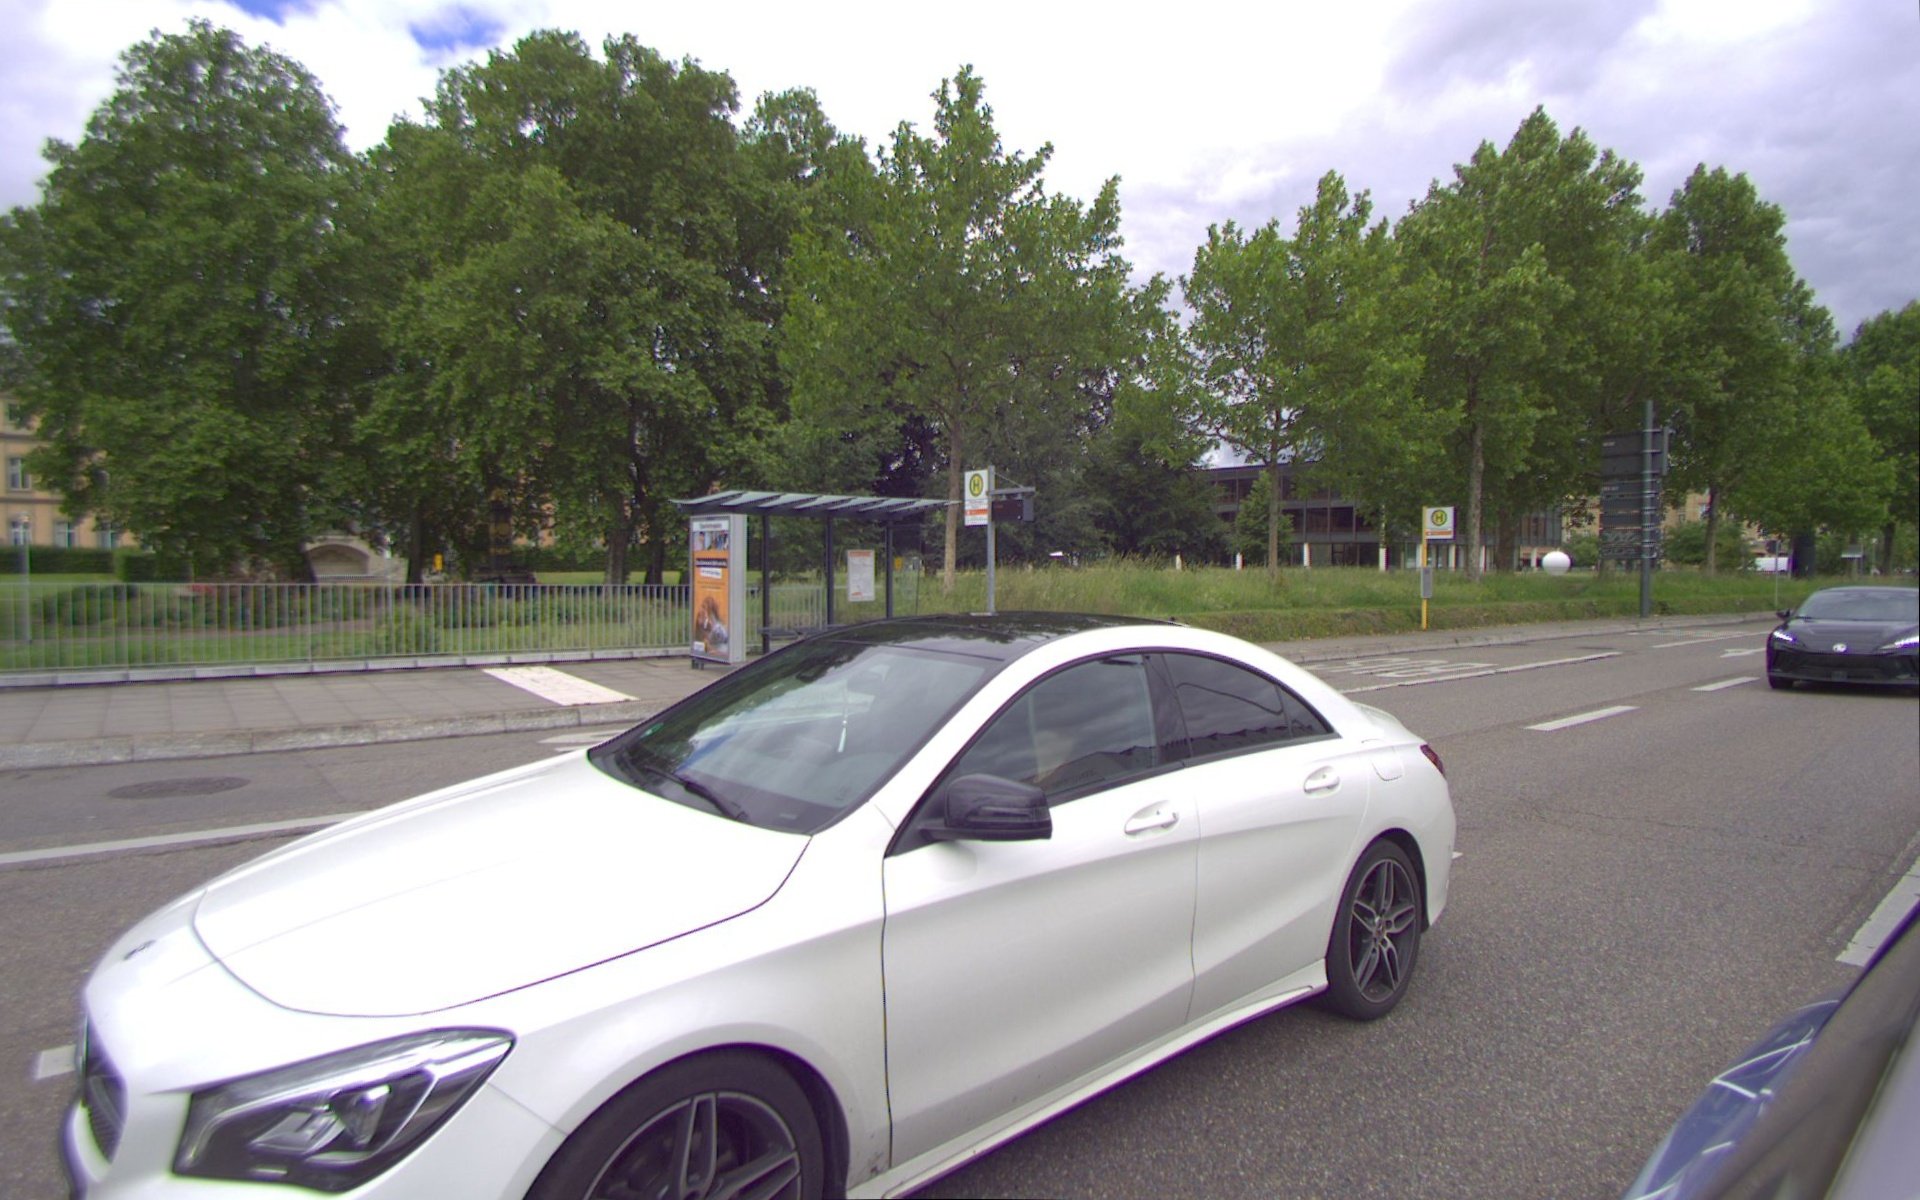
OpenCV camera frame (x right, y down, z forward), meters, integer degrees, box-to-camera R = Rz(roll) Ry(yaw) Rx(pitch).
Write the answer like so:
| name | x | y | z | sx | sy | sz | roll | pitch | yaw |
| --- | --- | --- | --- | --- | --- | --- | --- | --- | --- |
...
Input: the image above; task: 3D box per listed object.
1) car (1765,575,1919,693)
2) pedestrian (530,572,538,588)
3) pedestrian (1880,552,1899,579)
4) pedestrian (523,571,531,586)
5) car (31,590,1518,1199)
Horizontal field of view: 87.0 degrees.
| name | x | y | z | sx | sy | sz | roll | pitch | yaw |
| --- | --- | --- | --- | --- | --- | --- | --- | --- | --- |
| car | 13.498 | 0.396 | 14.860 | 4.020 | 1.508 | 1.852 | -1 | 2 | -40 |
| pedestrian | -36.715 | -1.723 | 87.300 | 0.401 | 1.347 | 0.465 | -1 | 0 | 21 |
| pedestrian | 71.745 | -2.691 | 78.086 | 1.160 | 2.039 | 0.891 | -2 | 0 | -40 |
| pedestrian | -37.482 | -1.854 | 87.509 | 0.401 | 1.347 | 0.465 | -1 | 0 | 21 |
| car | -0.014 | 0.728 | 3.404 | 4.446 | 1.437 | 1.799 | -1 | 2 | -39 |
